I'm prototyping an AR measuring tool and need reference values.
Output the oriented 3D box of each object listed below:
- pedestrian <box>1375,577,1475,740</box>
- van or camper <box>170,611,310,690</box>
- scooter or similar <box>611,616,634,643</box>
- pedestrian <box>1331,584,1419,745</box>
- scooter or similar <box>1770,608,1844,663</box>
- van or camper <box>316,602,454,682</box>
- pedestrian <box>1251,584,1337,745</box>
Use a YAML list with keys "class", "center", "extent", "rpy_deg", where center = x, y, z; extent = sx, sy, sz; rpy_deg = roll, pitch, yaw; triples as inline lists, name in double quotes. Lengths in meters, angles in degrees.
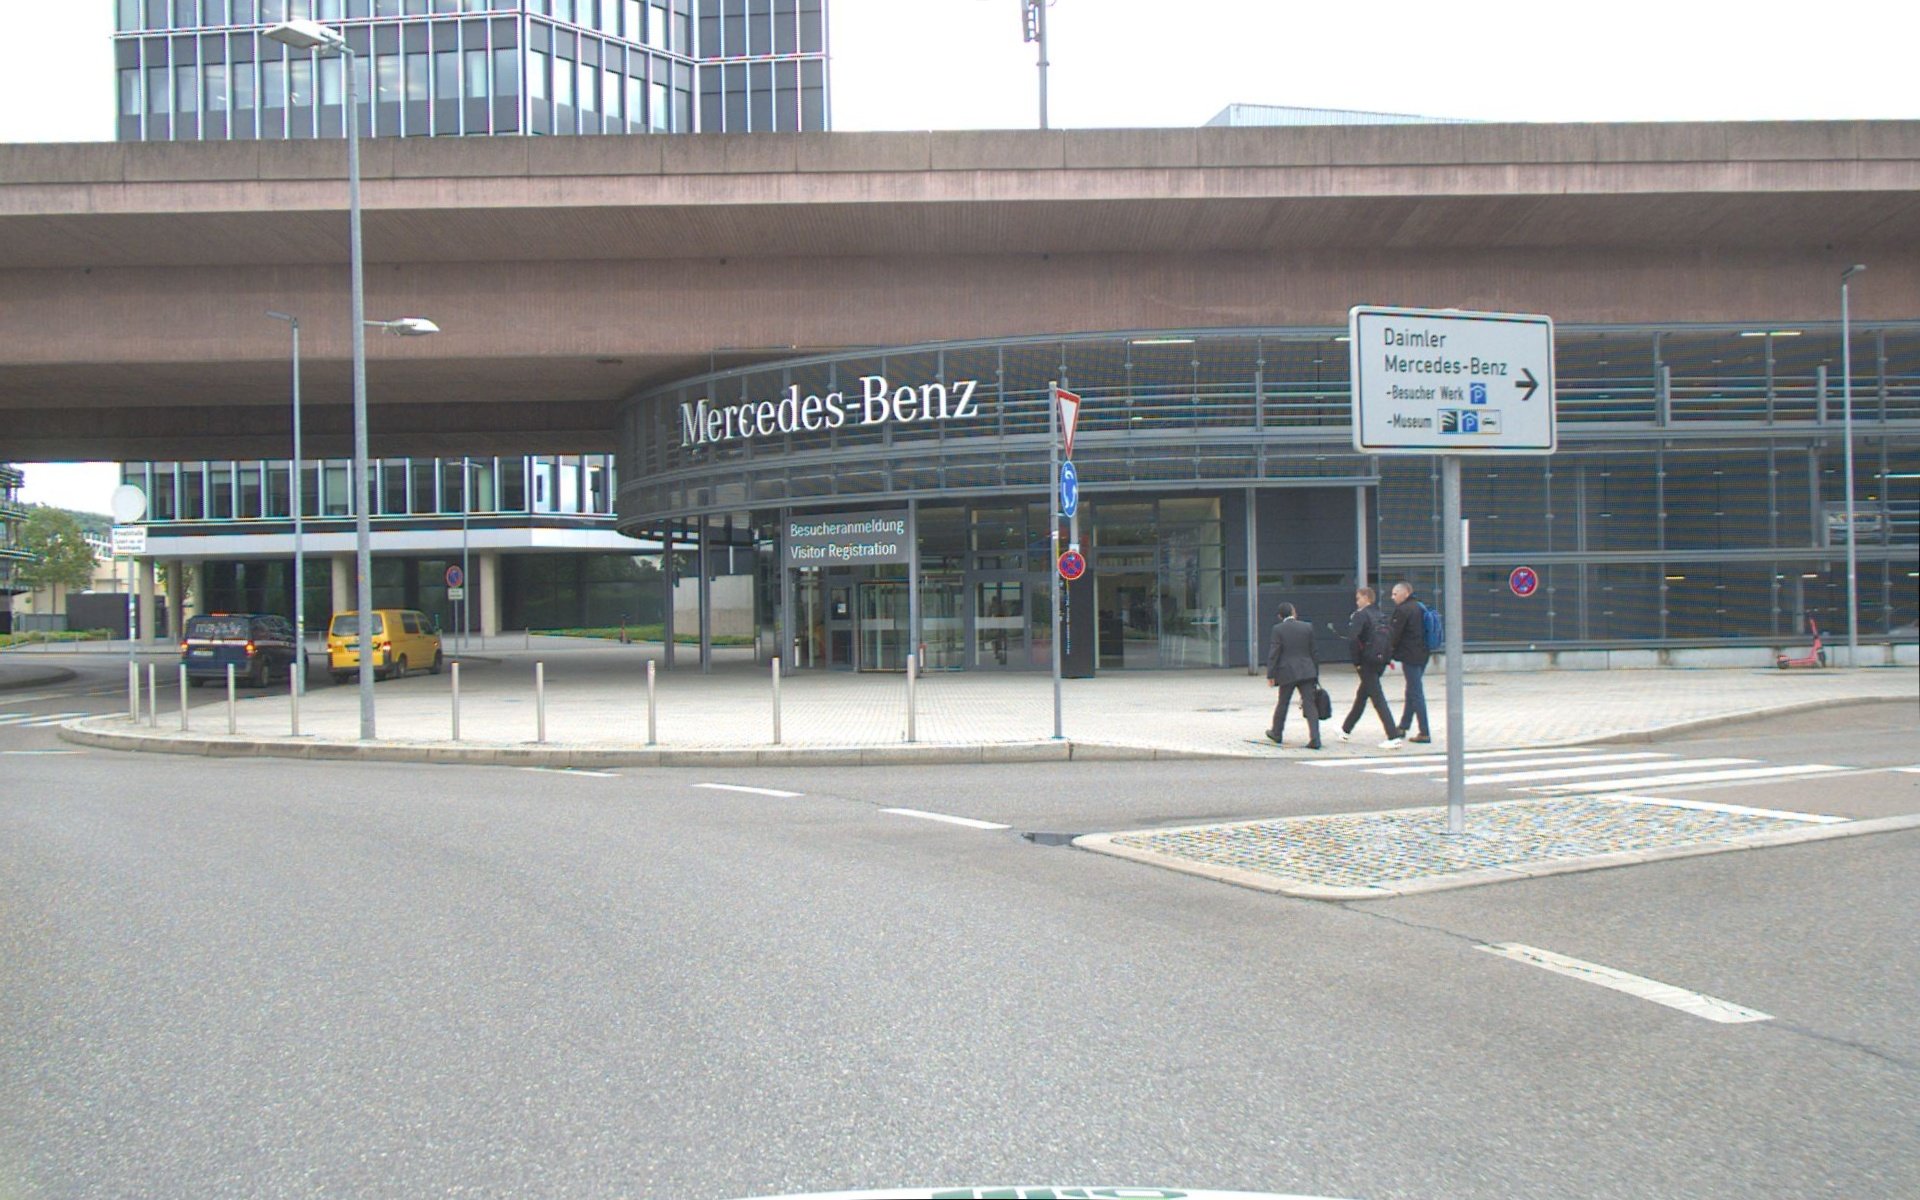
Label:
- class: "pedestrian"
  center: [5.352, 0.658, 19.085]
  extent: [0.848, 1.830, 0.780]
  rpy_deg: [0, 0, -13]
- class: "van or camper"
  center: [-19.183, 1.280, 44.292]
  extent: [2.106, 1.926, 4.894]
  rpy_deg: [0, 0, -7]
- class: "scooter or similar"
  center: [-14.920, 1.291, 73.136]
  extent: [0.689, 1.124, 1.490]
  rpy_deg: [0, 0, -24]
- class: "pedestrian"
  center: [4.566, 0.697, 18.254]
  extent: [0.768, 1.735, 0.772]
  rpy_deg: [0, 0, -1]
- class: "scooter or similar"
  center: [17.835, 0.753, 34.829]
  extent: [1.394, 1.143, 0.381]
  rpy_deg: [0, 0, -2]
- class: "van or camper"
  center: [-16.257, 1.129, 47.025]
  extent: [2.307, 2.034, 4.504]
  rpy_deg: [-2, 0, -1]
- class: "pedestrian"
  center: [3.677, 0.692, 18.259]
  extent: [0.844, 1.735, 0.773]
  rpy_deg: [0, 0, 4]
